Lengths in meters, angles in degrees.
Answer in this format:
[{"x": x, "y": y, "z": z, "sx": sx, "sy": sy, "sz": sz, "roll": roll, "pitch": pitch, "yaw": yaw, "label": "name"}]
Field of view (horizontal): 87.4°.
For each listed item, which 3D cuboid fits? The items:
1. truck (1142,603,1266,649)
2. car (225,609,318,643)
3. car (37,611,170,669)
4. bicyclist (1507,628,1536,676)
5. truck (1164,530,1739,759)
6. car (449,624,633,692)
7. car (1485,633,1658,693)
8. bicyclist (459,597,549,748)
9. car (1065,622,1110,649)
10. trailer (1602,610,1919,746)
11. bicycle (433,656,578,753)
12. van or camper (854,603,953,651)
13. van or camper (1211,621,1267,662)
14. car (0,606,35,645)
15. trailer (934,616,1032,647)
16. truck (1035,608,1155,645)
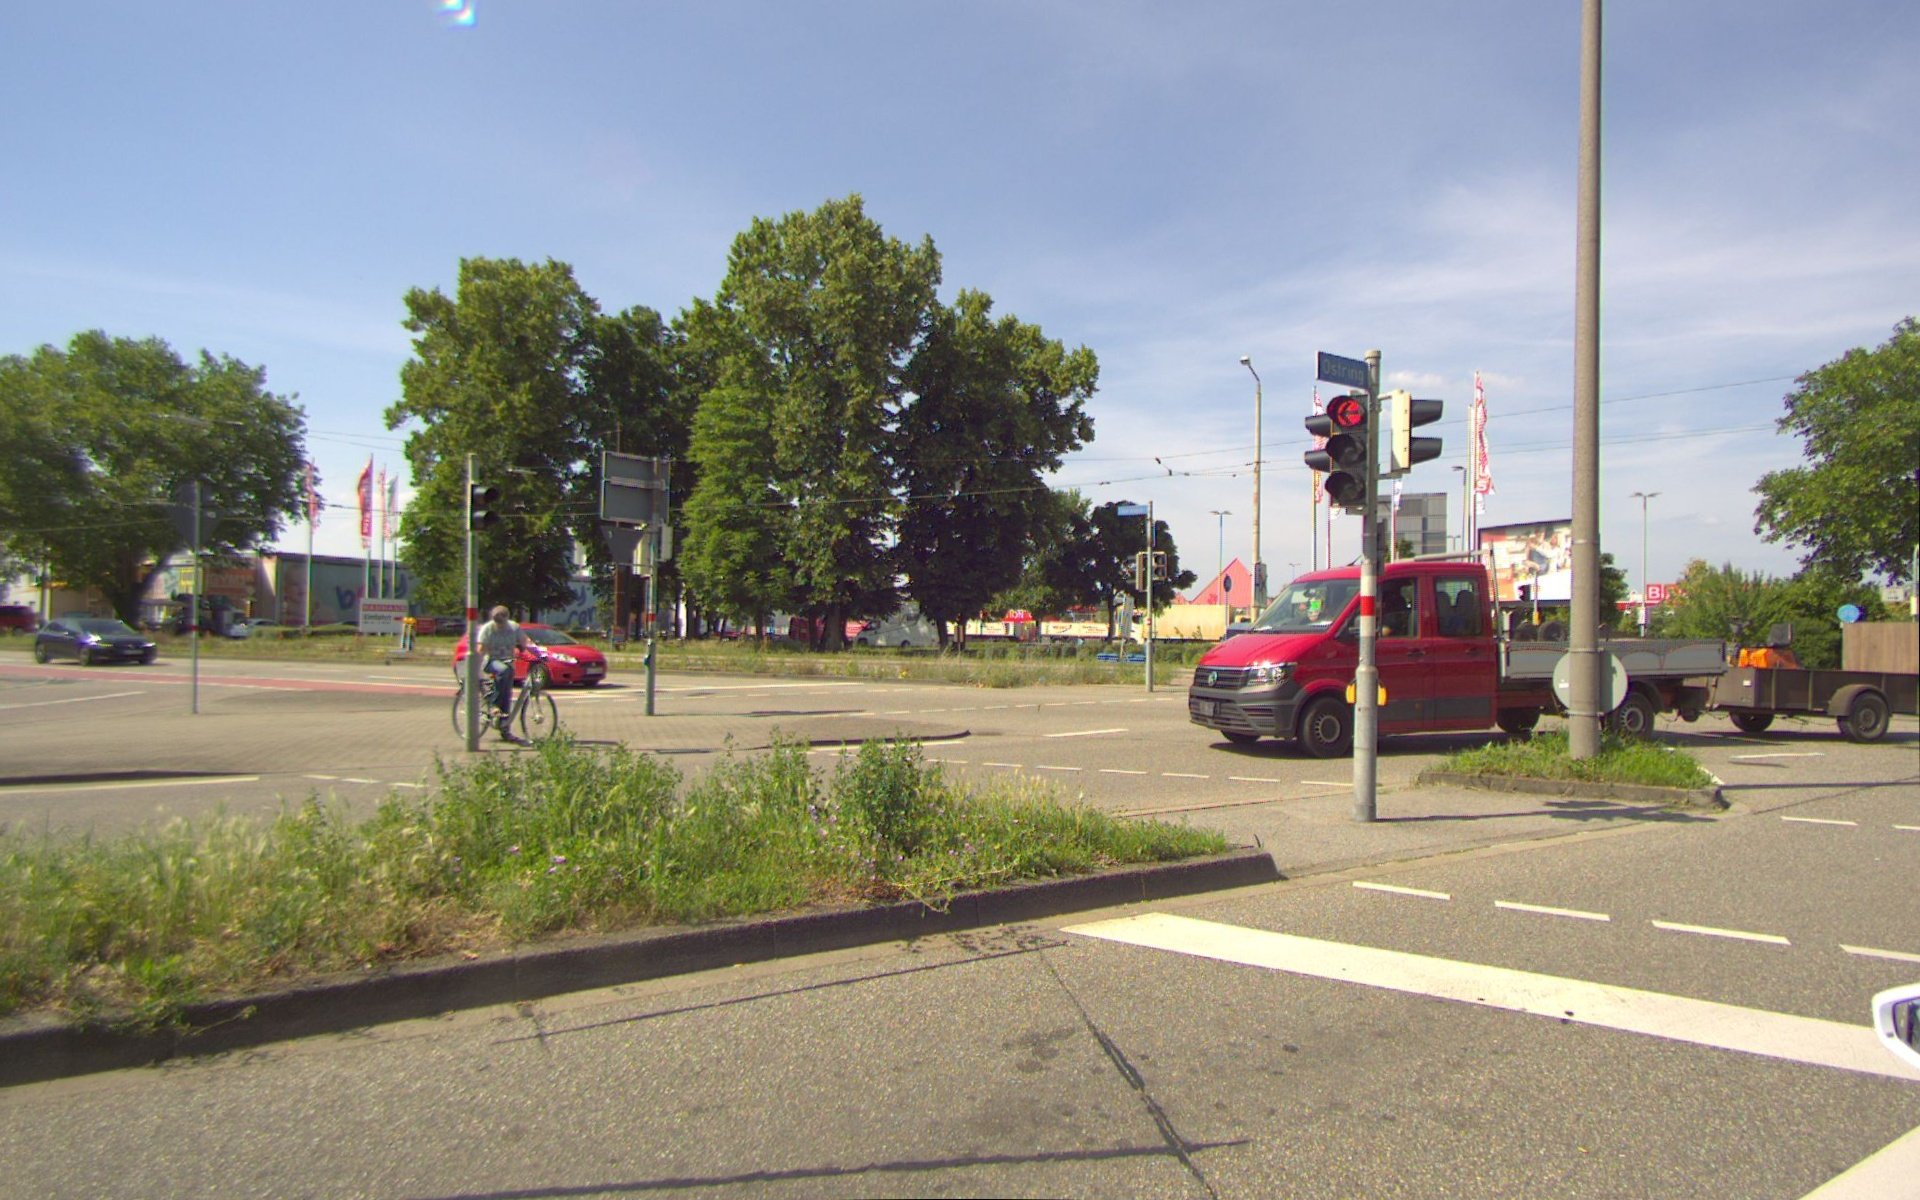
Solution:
[{"x": 18.489, "y": 1.929, "z": 76.201, "sx": 8.753, "sy": 3.355, "sz": 3.159, "roll": 0, "pitch": -2, "yaw": 23, "label": "truck"}, {"x": -48.613, "y": 1.867, "z": 71.013, "sx": 2.112, "sy": 2.308, "sz": 5.037, "roll": 0, "pitch": -2, "yaw": 26, "label": "car"}, {"x": -27.002, "y": 1.238, "z": 31.653, "sx": 3.929, "sy": 1.721, "sz": 1.996, "roll": 0, "pitch": -2, "yaw": 31, "label": "car"}, {"x": 17.728, "y": 1.636, "z": 31.706, "sx": 0.599, "sy": 1.511, "sz": 0.528, "roll": 1, "pitch": -1, "yaw": -15, "label": "bicyclist"}, {"x": 6.306, "y": 0.576, "z": 12.953, "sx": 7.009, "sy": 2.508, "sz": 2.140, "roll": 1, "pitch": -1, "yaw": -15, "label": "truck"}, {"x": -9.921, "y": 1.324, "z": 23.812, "sx": 3.924, "sy": 1.468, "sz": 1.846, "roll": 0, "pitch": -2, "yaw": 25, "label": "car"}, {"x": 16.206, "y": 1.628, "z": 26.845, "sx": 3.788, "sy": 1.446, "sz": 1.698, "roll": 0, "pitch": -2, "yaw": 26, "label": "car"}, {"x": -5.720, "y": 0.886, "z": 12.612, "sx": 0.754, "sy": 1.812, "sz": 0.704, "roll": 0, "pitch": -1, "yaw": 31, "label": "bicyclist"}, {"x": 12.553, "y": 3.453, "z": 98.440, "sx": 2.344, "sy": 2.562, "sz": 6.118, "roll": 0, "pitch": -2, "yaw": 28, "label": "car"}, {"x": 11.622, "y": 1.057, "z": 14.283, "sx": 3.921, "sy": 1.738, "sz": 2.064, "roll": 1, "pitch": -1, "yaw": -13, "label": "trailer"}, {"x": -5.692, "y": 1.266, "z": 12.534, "sx": 2.128, "sy": 1.078, "sz": 0.524, "roll": 0, "pitch": -2, "yaw": 31, "label": "bicycle"}, {"x": -3.875, "y": 1.836, "z": 68.785, "sx": 6.207, "sy": 3.141, "sz": 2.709, "roll": 1, "pitch": -1, "yaw": 26, "label": "van or camper"}, {"x": 16.204, "y": 2.395, "z": 58.169, "sx": 2.155, "sy": 2.239, "sz": 5.513, "roll": 0, "pitch": -2, "yaw": 26, "label": "van or camper"}, {"x": -58.843, "y": 1.500, "z": 59.855, "sx": 2.112, "sy": 2.308, "sz": 5.037, "roll": 0, "pitch": -2, "yaw": 26, "label": "car"}, {"x": 1.984, "y": 2.706, "z": 87.187, "sx": 8.057, "sy": 2.523, "sz": 2.924, "roll": 0, "pitch": -2, "yaw": 26, "label": "trailer"}, {"x": 11.106, "y": 2.170, "z": 83.032, "sx": 9.431, "sy": 2.930, "sz": 2.925, "roll": 0, "pitch": -2, "yaw": 24, "label": "truck"}]
